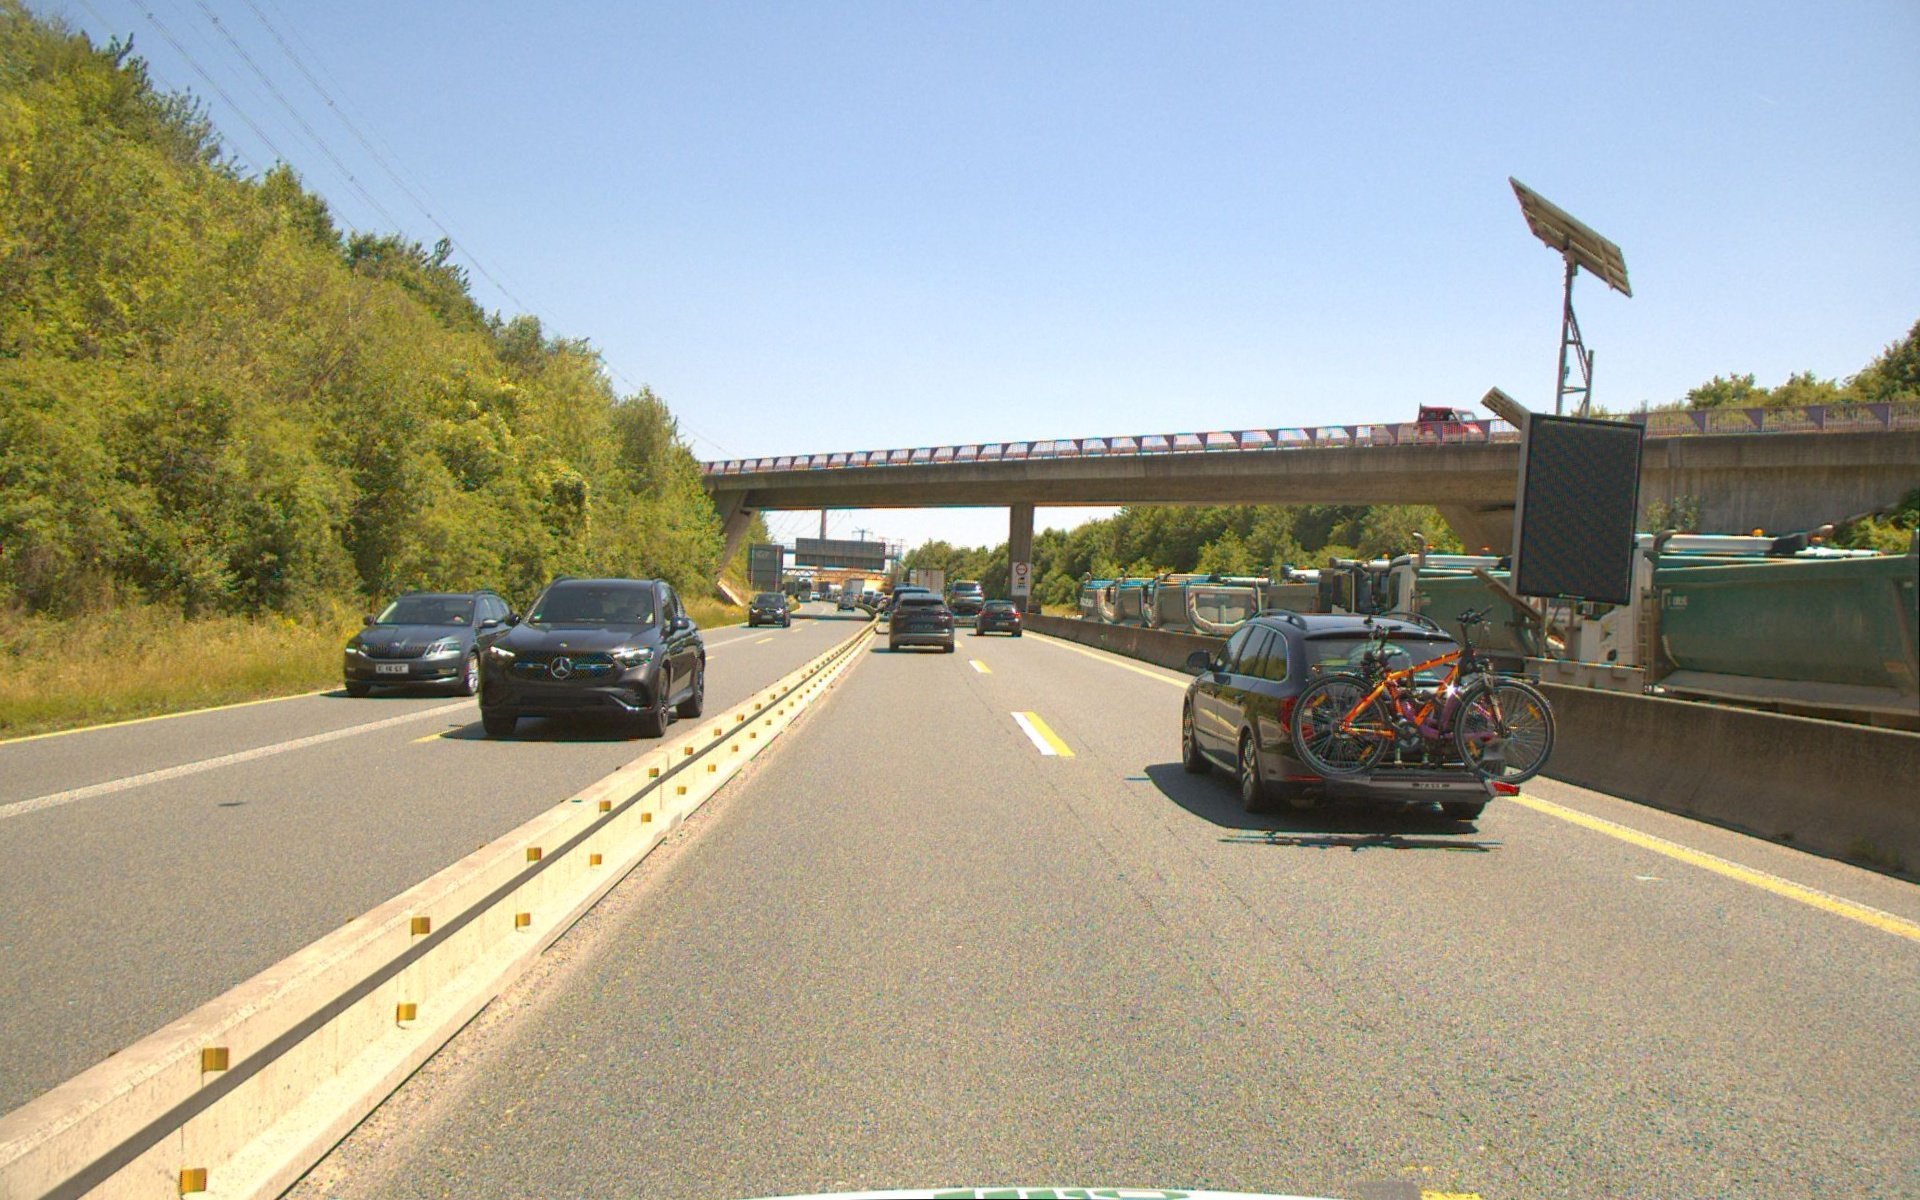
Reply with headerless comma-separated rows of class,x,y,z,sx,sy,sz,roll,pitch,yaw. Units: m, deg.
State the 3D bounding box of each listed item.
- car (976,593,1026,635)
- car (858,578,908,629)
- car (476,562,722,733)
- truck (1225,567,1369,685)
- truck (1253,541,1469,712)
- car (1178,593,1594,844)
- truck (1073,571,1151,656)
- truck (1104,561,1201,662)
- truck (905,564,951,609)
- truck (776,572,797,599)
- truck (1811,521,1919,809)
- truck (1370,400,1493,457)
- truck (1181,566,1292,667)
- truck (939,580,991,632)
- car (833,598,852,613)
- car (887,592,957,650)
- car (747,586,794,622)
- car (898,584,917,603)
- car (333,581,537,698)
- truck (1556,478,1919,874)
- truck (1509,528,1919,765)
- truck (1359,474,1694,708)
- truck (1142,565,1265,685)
car,1.649,0.562,67.660,1.860,1.613,4.275,1,0,-1
car,-3.143,0.129,68.390,1.860,2.003,4.275,1,0,-1
car,-3.940,0.465,18.884,1.806,1.638,4.698,2,0,-1
truck,11.268,0.792,56.290,2.633,3.619,9.321,1,0,-2
truck,9.449,0.556,40.212,2.633,3.619,9.321,1,0,-2
car,2.974,0.748,12.738,1.860,1.516,4.946,1,0,-1
truck,7.448,0.621,82.090,2.633,3.910,9.321,1,0,-2
truck,7.983,0.427,69.709,2.633,3.923,9.321,1,0,-2
truck,-3.005,-1.177,150.968,3.229,3.912,10.096,1,0,-6
truck,-21.703,-1.822,206.893,2.460,3.242,10.096,1,0,-6
truck,12.785,0.804,17.381,2.632,3.437,9.601,1,0,0
truck,21.865,-7.913,76.933,1.916,2.102,5.442,2,-1,-37
truck,11.168,0.628,67.732,2.633,3.792,9.321,1,0,-2
truck,0.200,0.273,87.622,2.357,2.603,7.496,1,0,-2
car,-11.176,0.548,157.963,1.640,1.418,4.069,1,0,-2
car,-1.037,0.564,46.538,1.860,1.531,4.275,1,0,-1
car,-8.888,0.175,77.890,1.742,1.604,4.068,1,0,-1
car,-5.908,-0.701,185.897,1.863,2.003,4.270,1,0,-6
car,-7.623,0.531,24.428,1.688,1.548,4.184,1,0,-1
truck,10.074,0.709,19.421,2.632,3.619,9.405,1,0,-1
truck,12.793,0.675,29.145,2.633,3.437,9.598,1,0,-2
truck,10.031,-0.156,30.633,2.633,3.619,9.321,1,0,-2
truck,8.411,0.790,58.282,2.633,3.826,9.321,1,0,-2
